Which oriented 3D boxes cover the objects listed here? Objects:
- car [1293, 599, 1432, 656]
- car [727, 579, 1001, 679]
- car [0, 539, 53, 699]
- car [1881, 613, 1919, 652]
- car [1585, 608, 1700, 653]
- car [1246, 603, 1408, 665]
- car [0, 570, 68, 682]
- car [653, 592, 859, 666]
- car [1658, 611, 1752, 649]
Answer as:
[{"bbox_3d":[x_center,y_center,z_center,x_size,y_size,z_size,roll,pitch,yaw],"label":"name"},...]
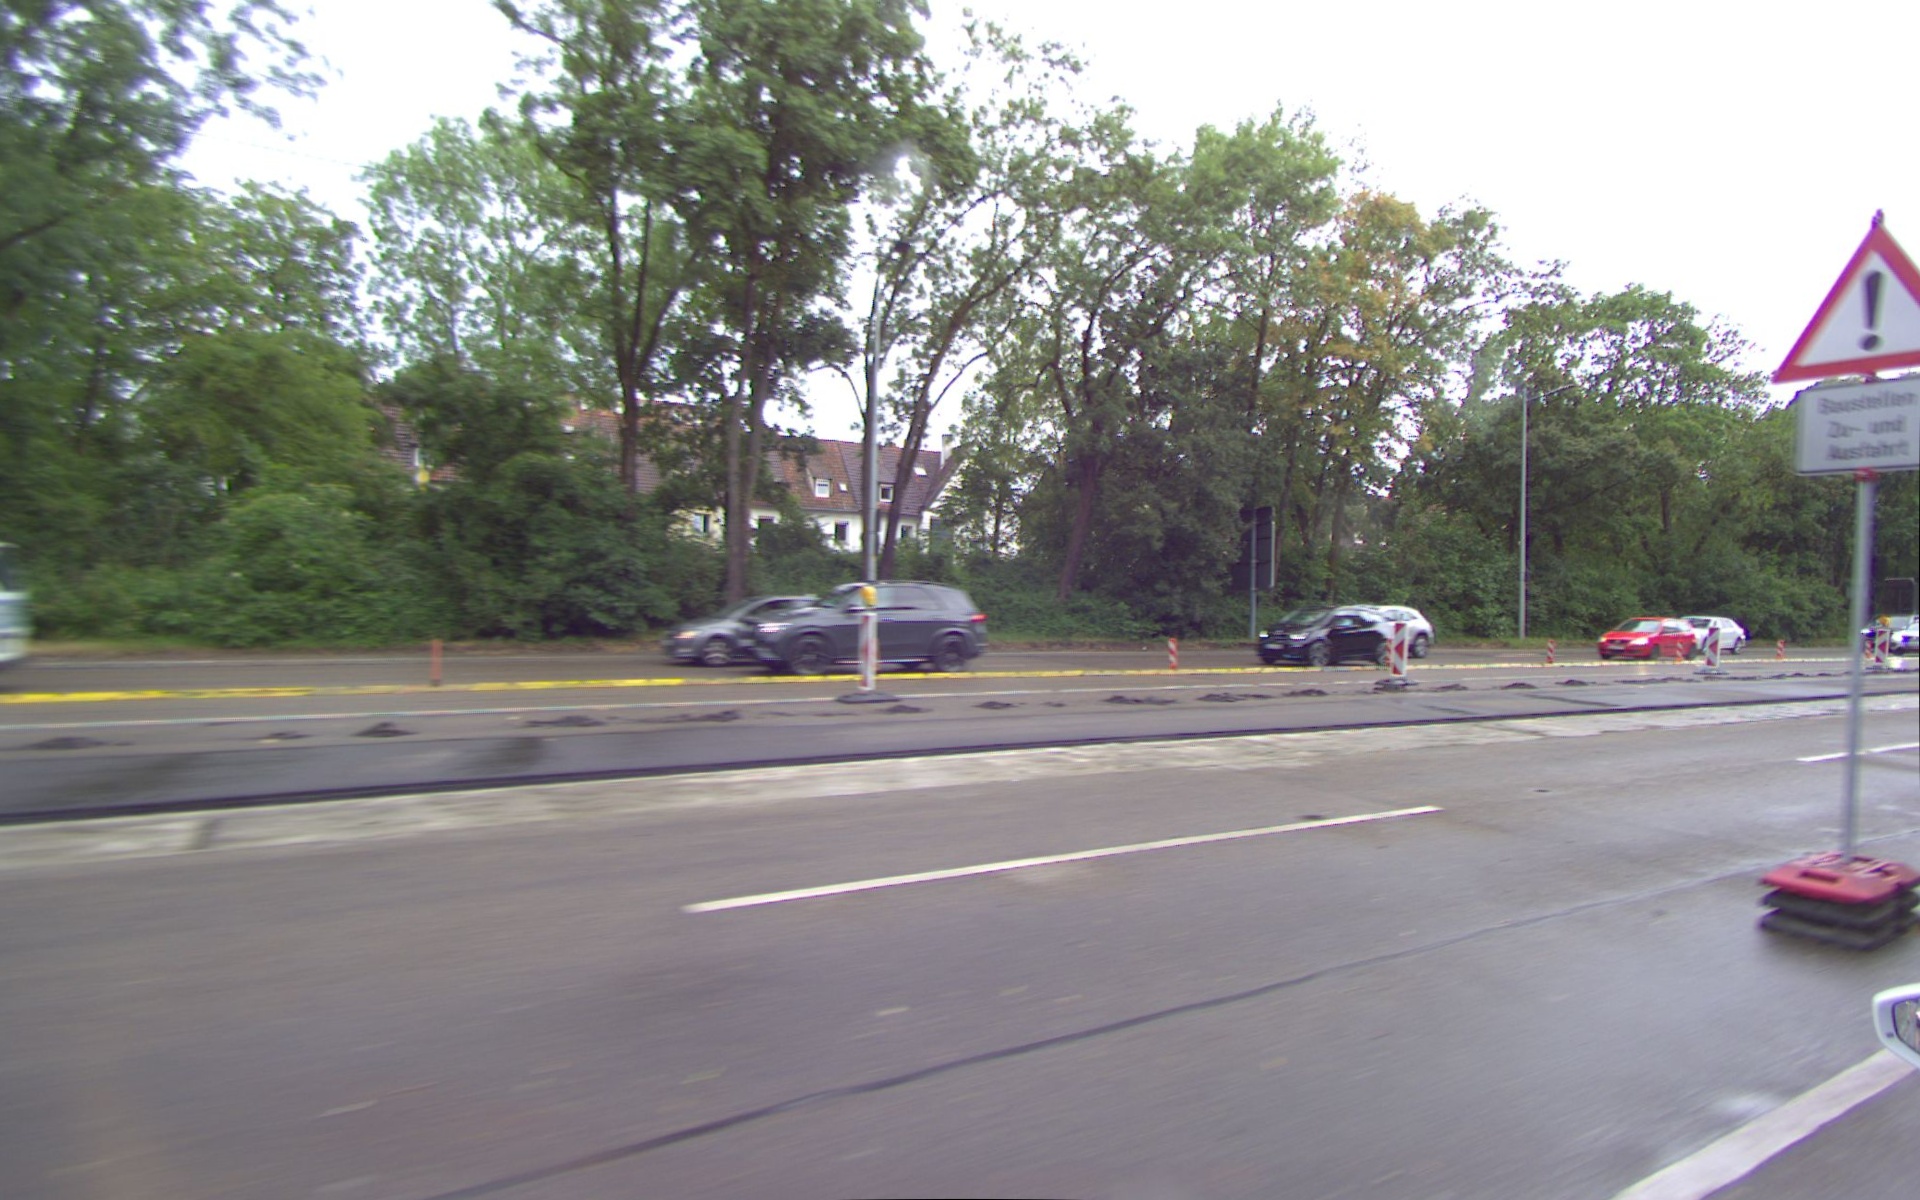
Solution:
[{"bbox_3d":[12.514,0.836,31.150,4.368,1.648,1.694,1,0,-31],"label":"car"},{"bbox_3d":[-1.836,0.531,19.651,4.953,1.748,2.012,1,0,-30],"label":"car"},{"bbox_3d":[-14.397,0.188,12.098,4.849,1.998,1.982,1,0,-33],"label":"car"},{"bbox_3d":[44.125,1.480,45.727,4.835,1.683,1.881,1,0,-30],"label":"car"},{"bbox_3d":[23.161,1.009,34.062,3.965,1.419,1.671,1,0,-30],"label":"car"},{"bbox_3d":[9.667,0.866,26.387,4.147,1.507,1.768,1,0,-30],"label":"car"},{"bbox_3d":[-15.938,0.339,14.730,3.954,1.643,1.818,1,0,-31],"label":"car"},{"bbox_3d":[-4.284,0.594,21.187,3.952,1.439,1.638,1,0,-30],"label":"car"},{"bbox_3d":[30.843,1.236,41.560,4.099,1.516,1.671,1,-1,-30],"label":"car"}]
